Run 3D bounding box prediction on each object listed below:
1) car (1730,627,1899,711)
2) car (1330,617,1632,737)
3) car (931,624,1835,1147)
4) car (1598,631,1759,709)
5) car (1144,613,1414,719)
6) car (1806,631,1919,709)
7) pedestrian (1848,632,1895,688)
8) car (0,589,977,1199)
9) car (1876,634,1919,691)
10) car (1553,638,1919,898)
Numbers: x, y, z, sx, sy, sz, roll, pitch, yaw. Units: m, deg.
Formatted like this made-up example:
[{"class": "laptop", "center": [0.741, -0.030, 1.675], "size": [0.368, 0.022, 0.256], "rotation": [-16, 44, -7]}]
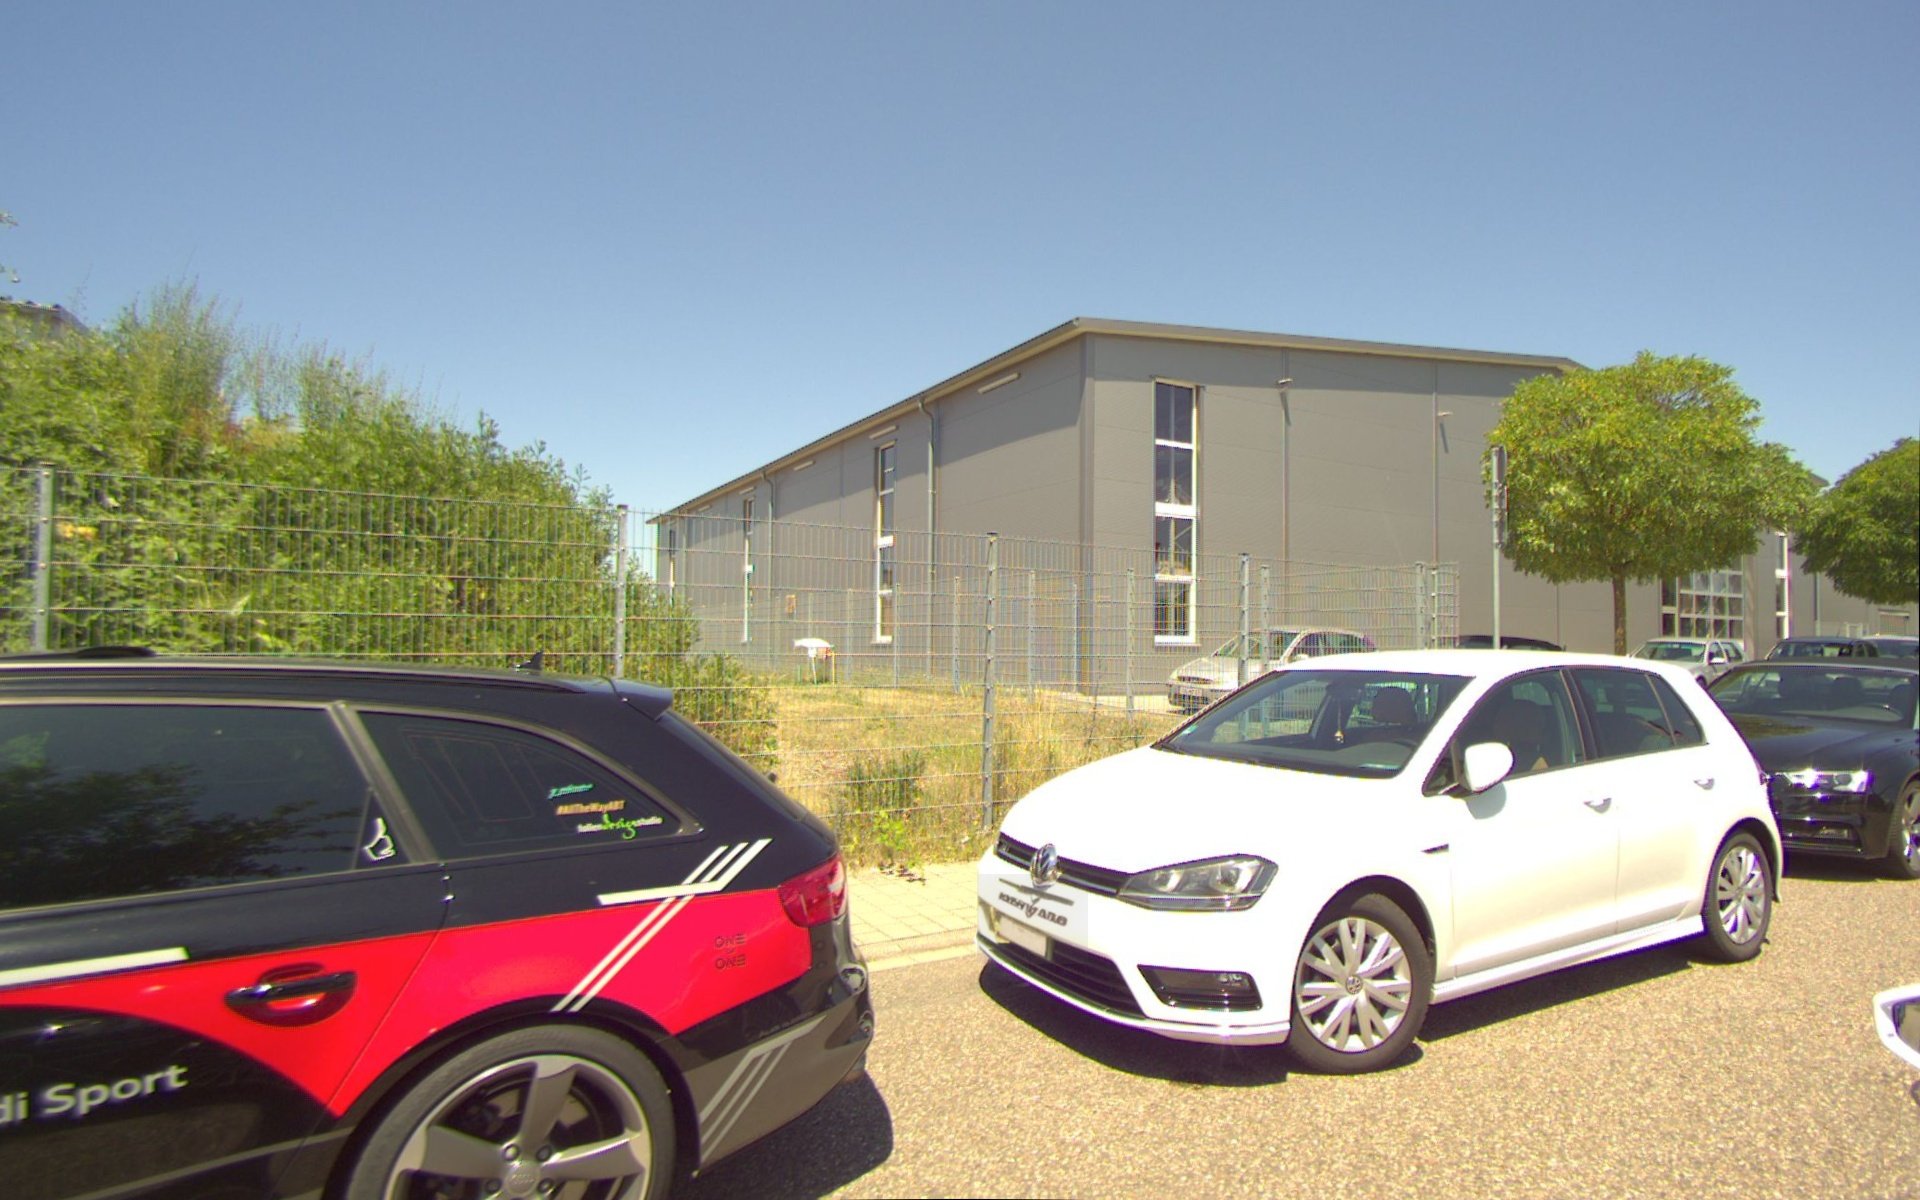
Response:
[{"class": "car", "center": [17.021, 1.339, 19.976], "size": [3.668, 1.519, 1.672], "rotation": [2, -3, -35]}, {"class": "car", "center": [7.591, 1.079, 14.576], "size": [4.274, 1.519, 1.817], "rotation": [2, -3, -28]}, {"class": "car", "center": [2.133, 0.932, 4.803], "size": [4.208, 1.519, 1.816], "rotation": [2, -3, -30]}, {"class": "car", "center": [15.579, 1.470, 21.737], "size": [3.666, 1.520, 1.672], "rotation": [2, -1, -34]}, {"class": "car", "center": [5.267, 1.040, 16.515], "size": [4.206, 1.520, 1.817], "rotation": [2, 0, -28]}, {"class": "car", "center": [21.208, 1.545, 22.701], "size": [4.486, 1.594, 1.757], "rotation": [2, -1, -30]}, {"class": "pedestrian", "center": [28.632, 1.874, 31.552], "size": [0.953, 1.736, 0.836], "rotation": [2, -1, -30]}, {"class": "car", "center": [-2.331, 0.768, 2.233], "size": [4.466, 1.519, 1.816], "rotation": [2, -3, -30]}, {"class": "car", "center": [29.816, 1.903, 30.479], "size": [4.295, 1.649, 1.727], "rotation": [2, -1, -29]}, {"class": "car", "center": [6.797, 1.086, 7.828], "size": [4.473, 1.519, 1.816], "rotation": [2, -3, -30]}]
